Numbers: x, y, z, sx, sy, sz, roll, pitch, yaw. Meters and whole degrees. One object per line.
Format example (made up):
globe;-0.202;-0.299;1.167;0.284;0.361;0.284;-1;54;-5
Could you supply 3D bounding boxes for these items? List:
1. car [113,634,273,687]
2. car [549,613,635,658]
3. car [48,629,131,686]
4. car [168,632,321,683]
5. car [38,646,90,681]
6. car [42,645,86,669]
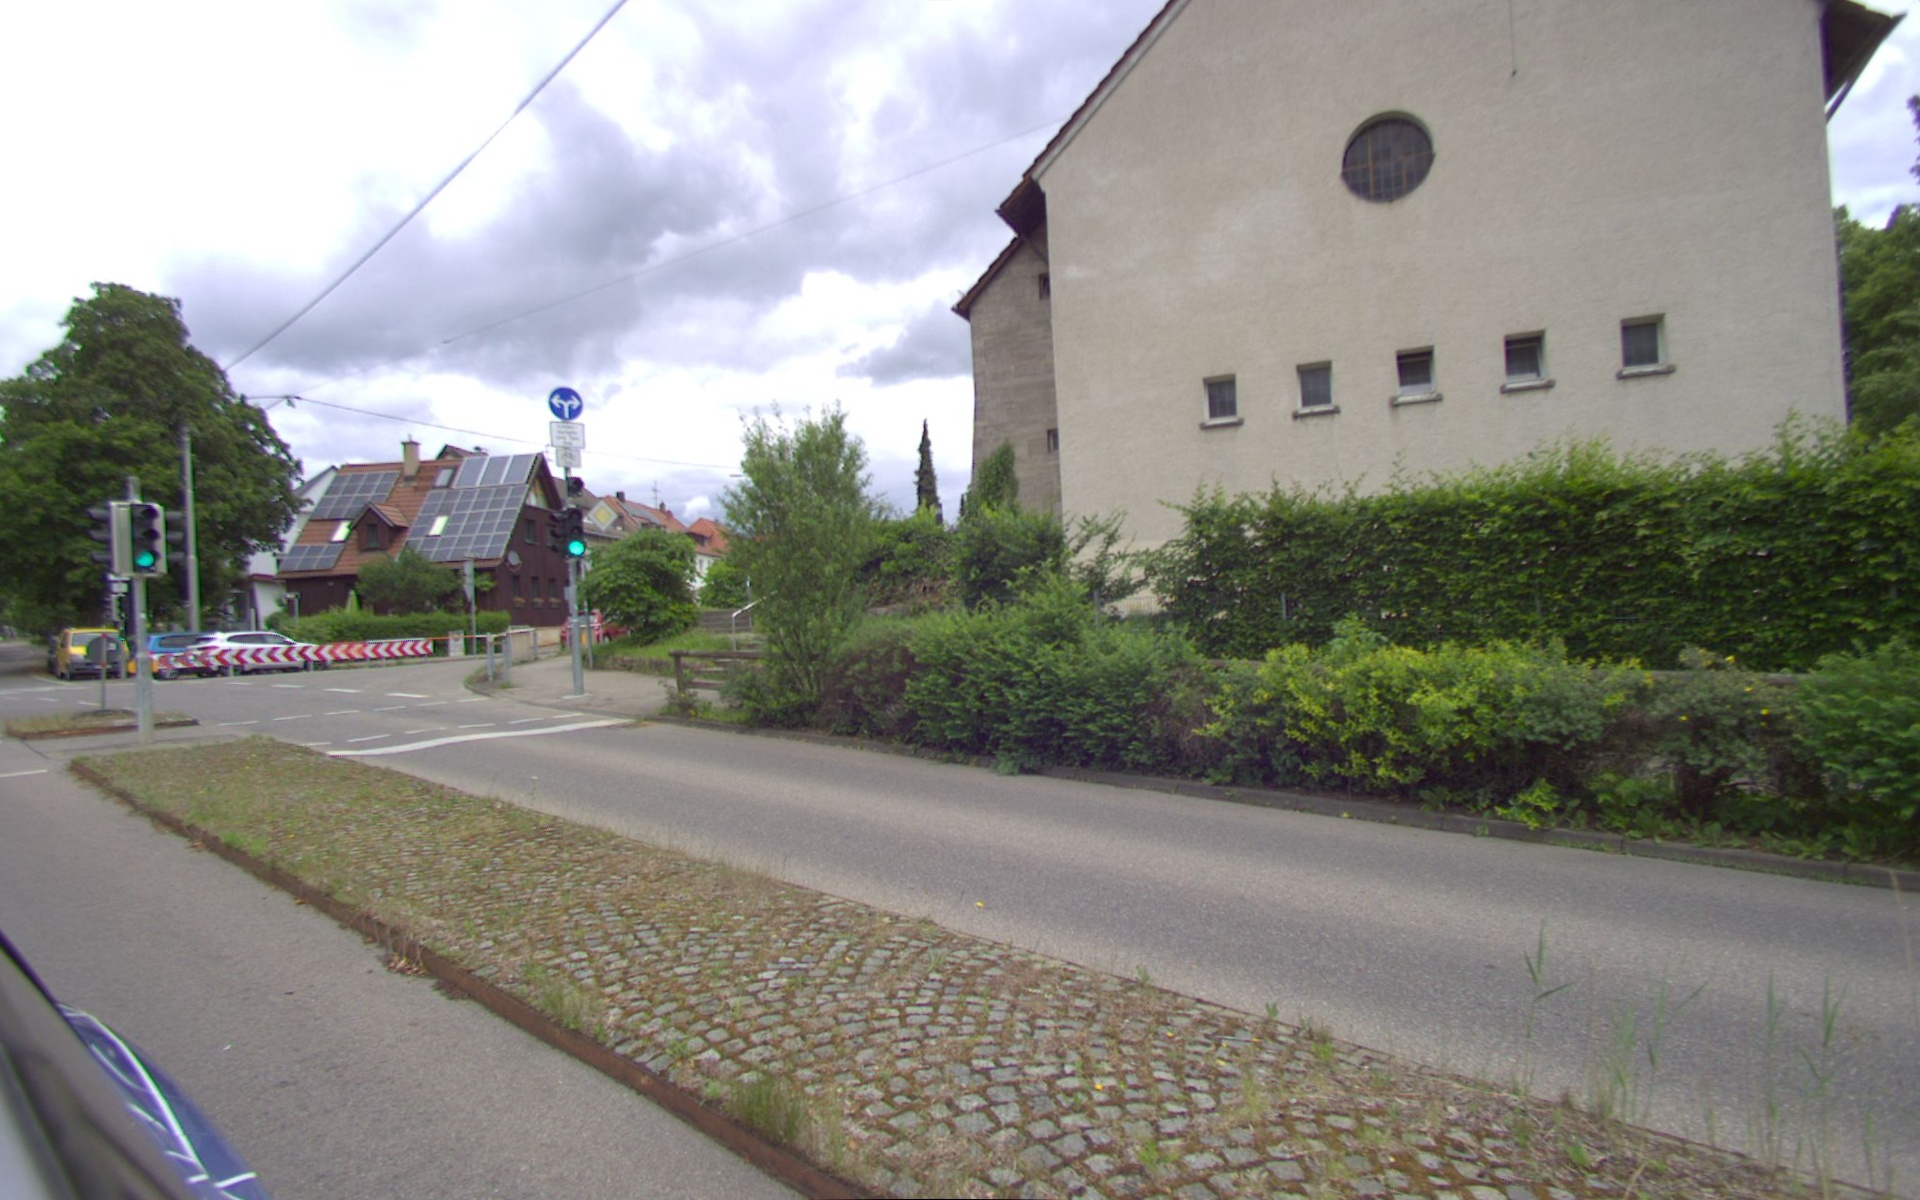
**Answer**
car;-26.831;2.105;35.503;1.843;1.558;4.125;-4;-2;38
car;-13.694;1.293;37.837;1.751;1.501;3.682;-3;-1;1
car;-34.008;2.219;39.496;4.800;2.004;1.895;-3;-1;43
car;-24.456;1.943;34.708;1.838;1.483;3.865;-4;-1;30
car;-42.019;2.938;47.500;1.724;1.461;4.600;-2;-1;-41
car;-55.859;3.544;63.132;1.824;1.387;4.601;-2;-1;-39
